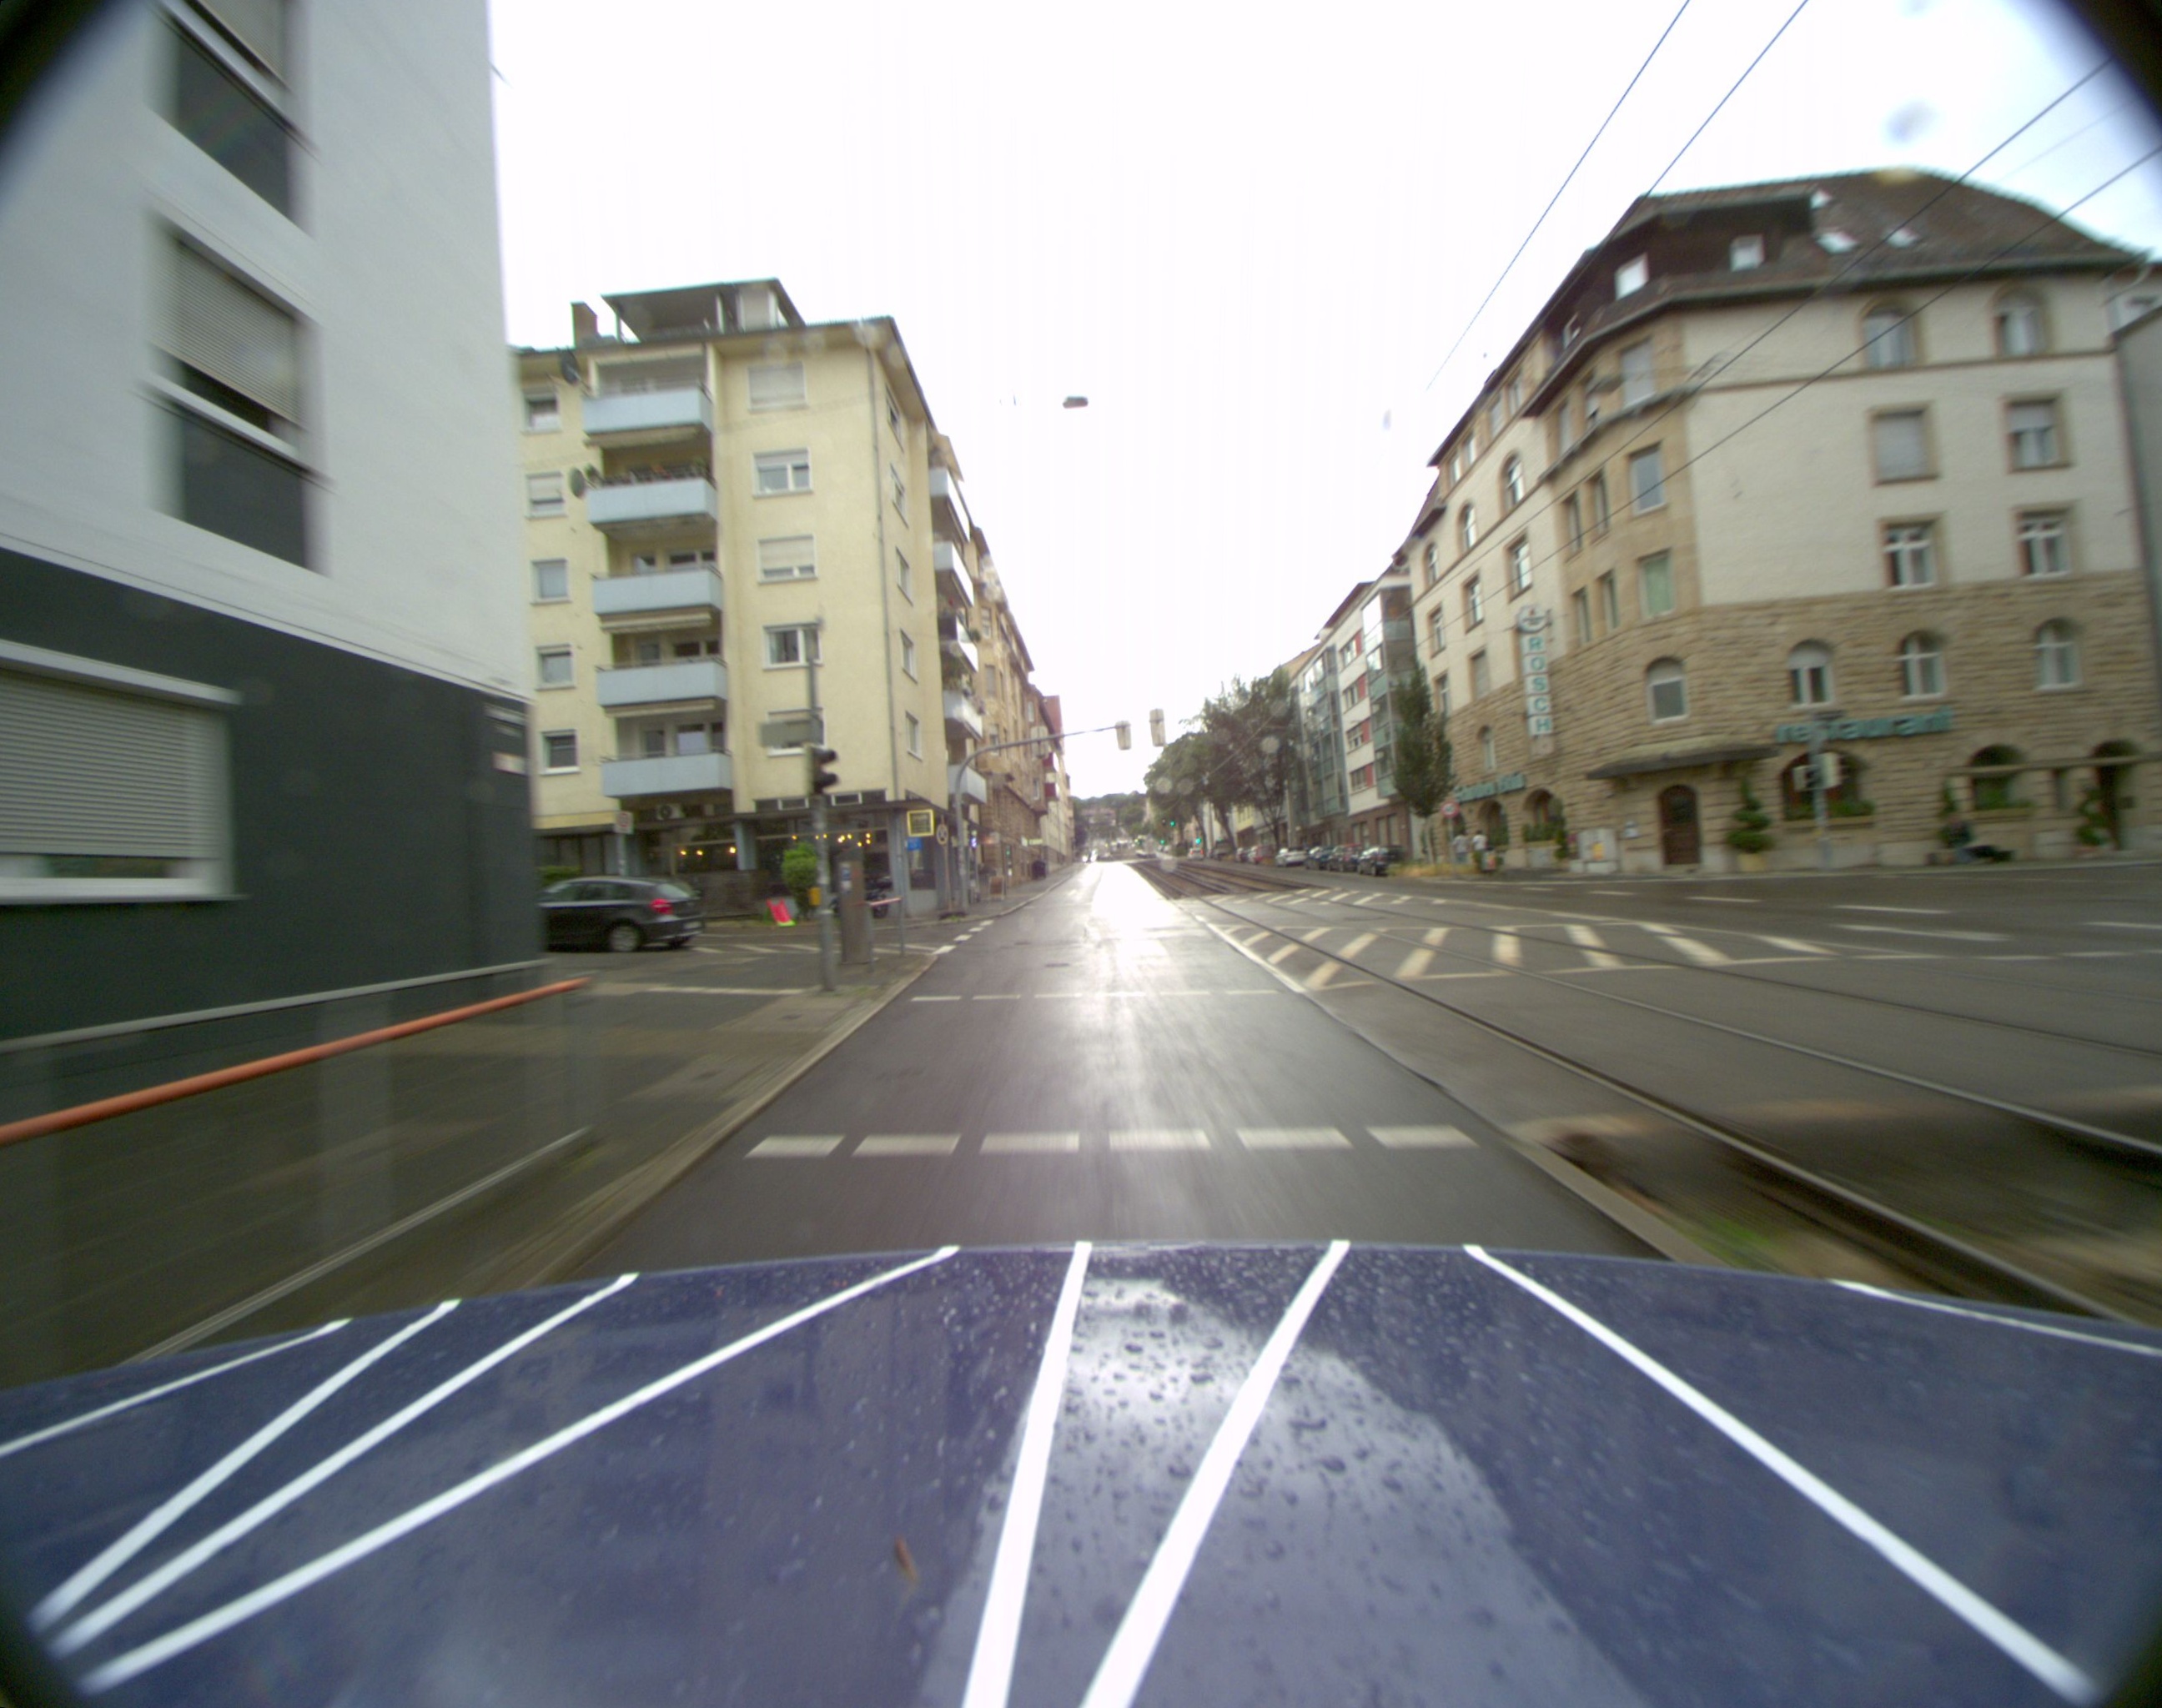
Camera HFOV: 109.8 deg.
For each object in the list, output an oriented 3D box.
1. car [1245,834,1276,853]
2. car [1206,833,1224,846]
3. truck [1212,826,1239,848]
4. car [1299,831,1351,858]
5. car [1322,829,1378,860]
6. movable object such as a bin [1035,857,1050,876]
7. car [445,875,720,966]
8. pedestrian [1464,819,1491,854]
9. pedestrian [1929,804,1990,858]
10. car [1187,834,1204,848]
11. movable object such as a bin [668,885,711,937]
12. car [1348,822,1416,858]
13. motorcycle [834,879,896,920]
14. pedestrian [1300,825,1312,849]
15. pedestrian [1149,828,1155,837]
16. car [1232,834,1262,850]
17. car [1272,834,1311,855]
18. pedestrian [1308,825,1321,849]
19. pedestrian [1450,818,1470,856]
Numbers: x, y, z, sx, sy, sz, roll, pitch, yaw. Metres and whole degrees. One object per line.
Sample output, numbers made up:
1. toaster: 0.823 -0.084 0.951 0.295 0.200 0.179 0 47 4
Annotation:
1. car: 15.693 -0.936 66.521 1.780 1.560 4.158 -4 1 2
2. car: 17.256 -1.864 97.973 1.708 1.452 4.360 -5 1 3
3. truck: 16.644 -1.988 87.862 2.197 2.333 6.351 -3 2 4
4. car: 14.800 -0.565 46.330 1.805 1.446 4.431 -4 0 2
5. car: 14.649 -0.536 41.581 1.811 1.490 3.525 -5 1 1
6. movable object such as a bin: -2.974 0.971 59.001 1.011 1.443 1.393 -2 2 3
7. car: -9.229 1.205 14.284 3.996 1.406 1.761 -2 0 3
8. pedestrian: 16.952 -0.741 32.482 0.756 1.414 0.645 -4 1 3
9. pedestrian: 24.005 -0.618 20.774 0.818 1.408 0.721 -3 2 6
10. car: 14.031 -1.604 93.004 1.630 1.473 3.581 -4 1 3
11. movable object such as a bin: -9.649 1.396 18.755 0.601 1.173 0.733 -4 2 -2
12. car: 14.427 -0.667 36.675 1.769 1.544 3.894 -4 1 2
13. motorcycle: -6.463 1.365 22.774 1.647 1.156 0.600 -1 2 3
14. pedestrian: 17.322 -1.289 58.500 0.675 1.762 0.782 -4 2 3
15. pedestrian: 14.239 -4.240 152.267 1.120 1.773 0.965 -4 2 2
16. car: 16.063 -1.186 73.716 1.911 1.432 4.469 -4 1 2
17. car: 15.244 -0.719 55.156 1.706 1.328 4.130 -6 1 3
18. pedestrian: 17.997 -1.329 58.452 0.675 1.762 0.782 -4 2 3
19. pedestrian: 16.219 -0.734 32.528 0.518 1.561 0.643 -3 2 4
